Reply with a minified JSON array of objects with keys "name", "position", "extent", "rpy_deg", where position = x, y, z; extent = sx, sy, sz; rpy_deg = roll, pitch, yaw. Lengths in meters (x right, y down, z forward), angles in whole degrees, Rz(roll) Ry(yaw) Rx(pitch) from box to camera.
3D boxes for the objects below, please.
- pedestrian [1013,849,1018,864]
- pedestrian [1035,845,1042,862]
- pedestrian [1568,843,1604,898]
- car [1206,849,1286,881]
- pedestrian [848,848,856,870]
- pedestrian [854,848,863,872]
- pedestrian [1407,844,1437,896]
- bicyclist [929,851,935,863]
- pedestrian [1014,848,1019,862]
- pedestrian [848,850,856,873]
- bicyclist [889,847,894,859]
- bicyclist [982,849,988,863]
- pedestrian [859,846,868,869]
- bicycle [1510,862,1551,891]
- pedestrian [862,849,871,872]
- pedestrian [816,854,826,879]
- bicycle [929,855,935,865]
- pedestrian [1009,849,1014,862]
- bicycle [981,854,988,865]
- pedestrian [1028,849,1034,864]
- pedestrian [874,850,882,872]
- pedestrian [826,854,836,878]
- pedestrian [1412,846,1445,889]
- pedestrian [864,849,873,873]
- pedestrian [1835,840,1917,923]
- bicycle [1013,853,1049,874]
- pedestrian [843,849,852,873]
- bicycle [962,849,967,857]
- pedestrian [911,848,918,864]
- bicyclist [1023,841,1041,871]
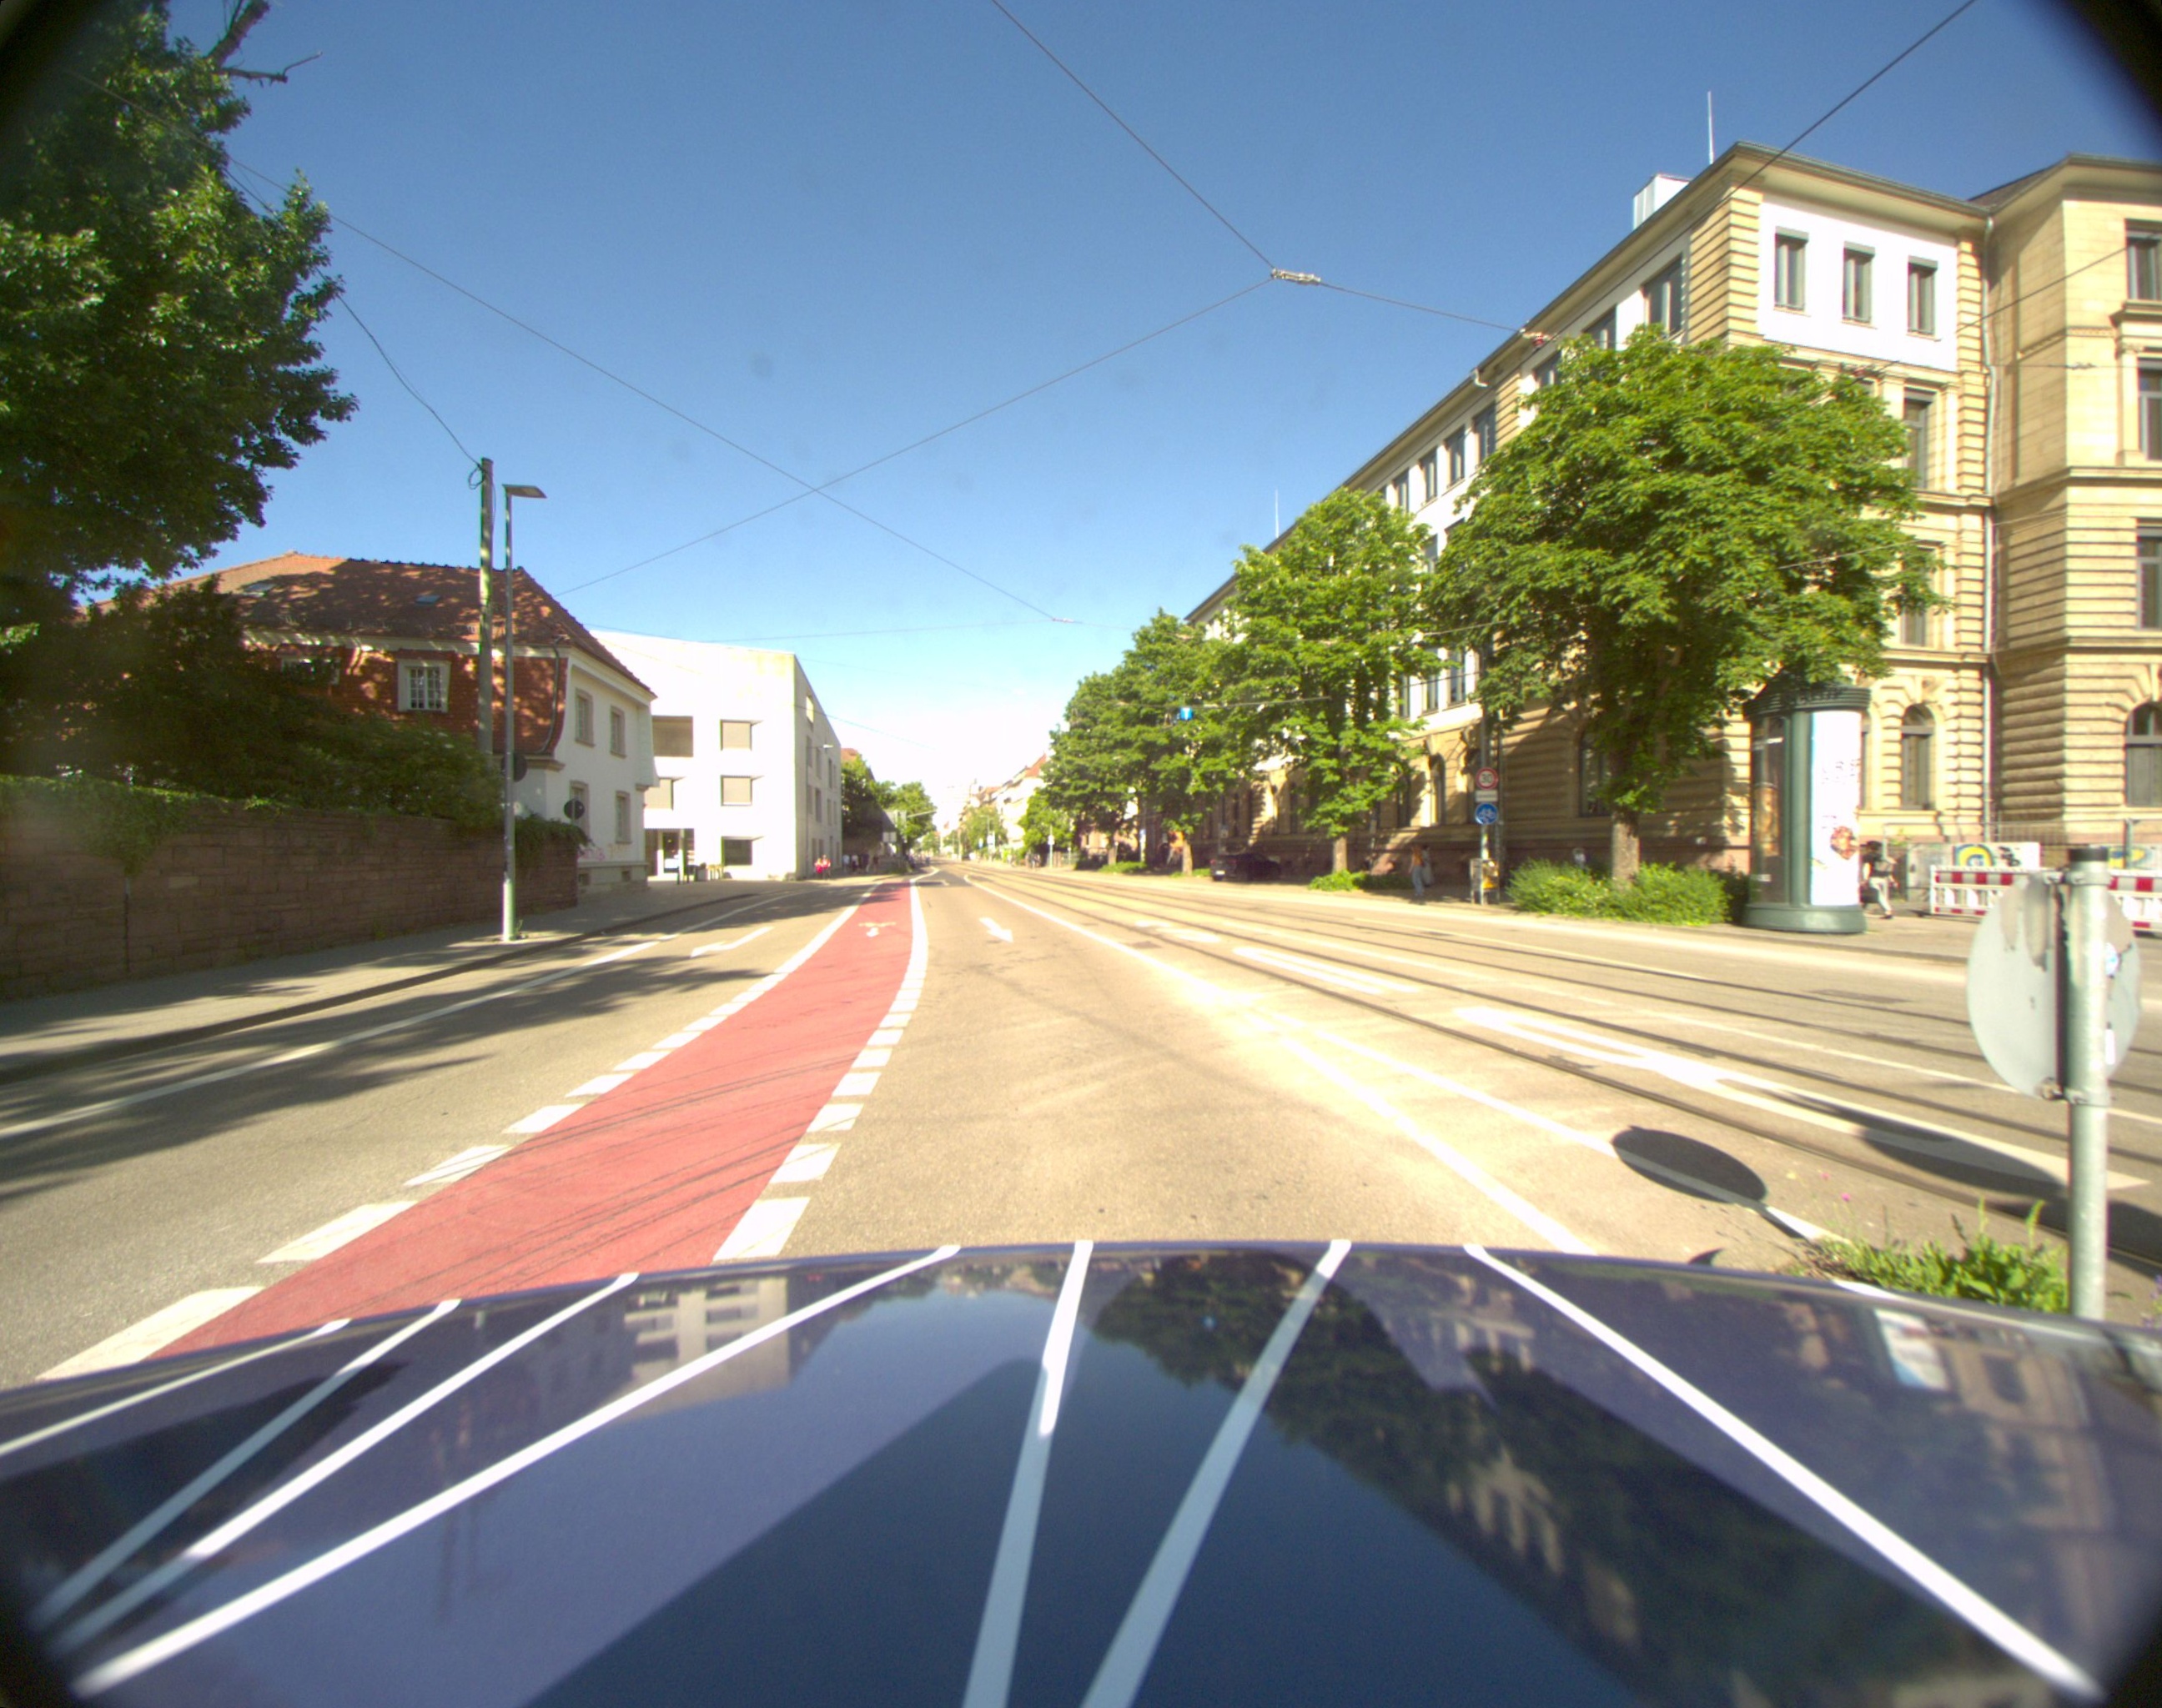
[{"name":"pedestrian","position":[-8.373,0.285,97.151],"extent":[0.579,1.845,0.684],"rpy_deg":[-1,1,-11]},{"name":"pedestrian","position":[-4.773,-0.064,85.629],"extent":[0.729,1.845,0.653],"rpy_deg":[0,1,-9]},{"name":"pedestrian","position":[14.500,0.474,21.833],"extent":[0.579,1.553,0.653],"rpy_deg":[-1,1,-12]},{"name":"car","position":[8.594,0.517,39.468],"extent":[4.118,1.565,1.916],"rpy_deg":[-1,1,-39]},{"name":"pedestrian","position":[-18.369,0.409,61.015],"extent":[0.588,1.795,0.545],"rpy_deg":[-1,1,-13]},{"name":"pedestrian","position":[-16.874,0.481,57.560],"extent":[0.588,1.795,0.545],"rpy_deg":[-1,1,-13]},{"name":"pedestrian","position":[11.220,0.543,25.025],"extent":[0.770,1.658,1.036],"rpy_deg":[0,-3,18]},{"name":"bicyclist","position":[-18.342,0.365,93.362],"extent":[0.665,1.453,0.622],"rpy_deg":[-2,2,-8]},{"name":"pedestrian","position":[-8.687,0.167,102.006],"extent":[0.579,1.845,0.684],"rpy_deg":[-1,1,-11]},{"name":"pedestrian","position":[-17.919,0.548,59.482],"extent":[0.588,1.795,0.582],"rpy_deg":[-1,1,-13]},{"name":"bicyclist","position":[-34.901,-0.220,140.040],"extent":[0.813,2.194,0.983],"rpy_deg":[-2,2,-10]},{"name":"bicyclist","position":[-15.958,0.352,126.204],"extent":[1.004,2.255,1.019],"rpy_deg":[-2,2,-9]},{"name":"pedestrian","position":[-17.525,0.284,61.207],"extent":[0.588,1.795,0.545],"rpy_deg":[-1,1,-13]},{"name":"bicycle","position":[15.273,0.745,25.836],"extent":[0.398,0.898,1.359],"rpy_deg":[-2,2,-10]},{"name":"pedestrian","position":[-16.907,0.473,59.918],"extent":[0.588,1.795,0.582],"rpy_deg":[-1,1,-13]},{"name":"pedestrian","position":[-16.383,0.767,47.834],"extent":[0.535,1.557,0.519],"rpy_deg":[-1,1,-13]},{"name":"bicycle","position":[-18.334,0.741,93.394],"extent":[0.665,1.146,1.670],"rpy_deg":[-2,2,-8]},{"name":"pedestrian","position":[-9.334,0.189,101.833],"extent":[0.579,1.845,0.684],"rpy_deg":[-1,1,-11]},{"name":"bicycle","position":[-15.973,0.845,126.262],"extent":[1.004,1.672,2.981],"rpy_deg":[-2,2,-9]},{"name":"pedestrian","position":[-6.104,0.323,92.854],"extent":[0.579,1.845,0.653],"rpy_deg":[-1,1,-11]},{"name":"pedestrian","position":[-15.508,0.534,58.023],"extent":[0.588,1.717,0.519],"rpy_deg":[-1,1,-13]},{"name":"pedestrian","position":[-15.789,0.752,47.930],"extent":[0.535,1.557,0.519],"rpy_deg":[-1,1,-13]},{"name":"pedestrian","position":[13.252,0.515,28.999],"extent":[0.673,1.558,0.857],"rpy_deg":[-5,2,-21]},{"name":"pedestrian","position":[-16.147,0.518,57.762],"extent":[0.588,1.795,0.519],"rpy_deg":[-1,1,-13]},{"name":"pedestrian","position":[16.525,0.547,15.820],"extent":[0.729,1.660,0.846],"rpy_deg":[0,3,-2]},{"name":"bicycle","position":[-5.059,0.926,76.954],"extent":[1.001,1.876,3.901],"rpy_deg":[0,2,43]},{"name":"pedestrian","position":[-17.601,0.506,57.366],"extent":[0.588,1.795,0.545],"rpy_deg":[-1,1,-13]},{"name":"bicycle","position":[-25.644,-0.206,167.364],"extent":[1.004,1.672,2.981],"rpy_deg":[-2,2,-12]},{"name":"pedestrian","position":[-18.462,0.256,84.075],"extent":[0.679,1.728,0.931],"rpy_deg":[0,1,-10]},{"name":"bicyclist","position":[-4.942,0.209,77.071],"extent":[1.001,2.959,1.477],"rpy_deg":[0,3,43]}]
